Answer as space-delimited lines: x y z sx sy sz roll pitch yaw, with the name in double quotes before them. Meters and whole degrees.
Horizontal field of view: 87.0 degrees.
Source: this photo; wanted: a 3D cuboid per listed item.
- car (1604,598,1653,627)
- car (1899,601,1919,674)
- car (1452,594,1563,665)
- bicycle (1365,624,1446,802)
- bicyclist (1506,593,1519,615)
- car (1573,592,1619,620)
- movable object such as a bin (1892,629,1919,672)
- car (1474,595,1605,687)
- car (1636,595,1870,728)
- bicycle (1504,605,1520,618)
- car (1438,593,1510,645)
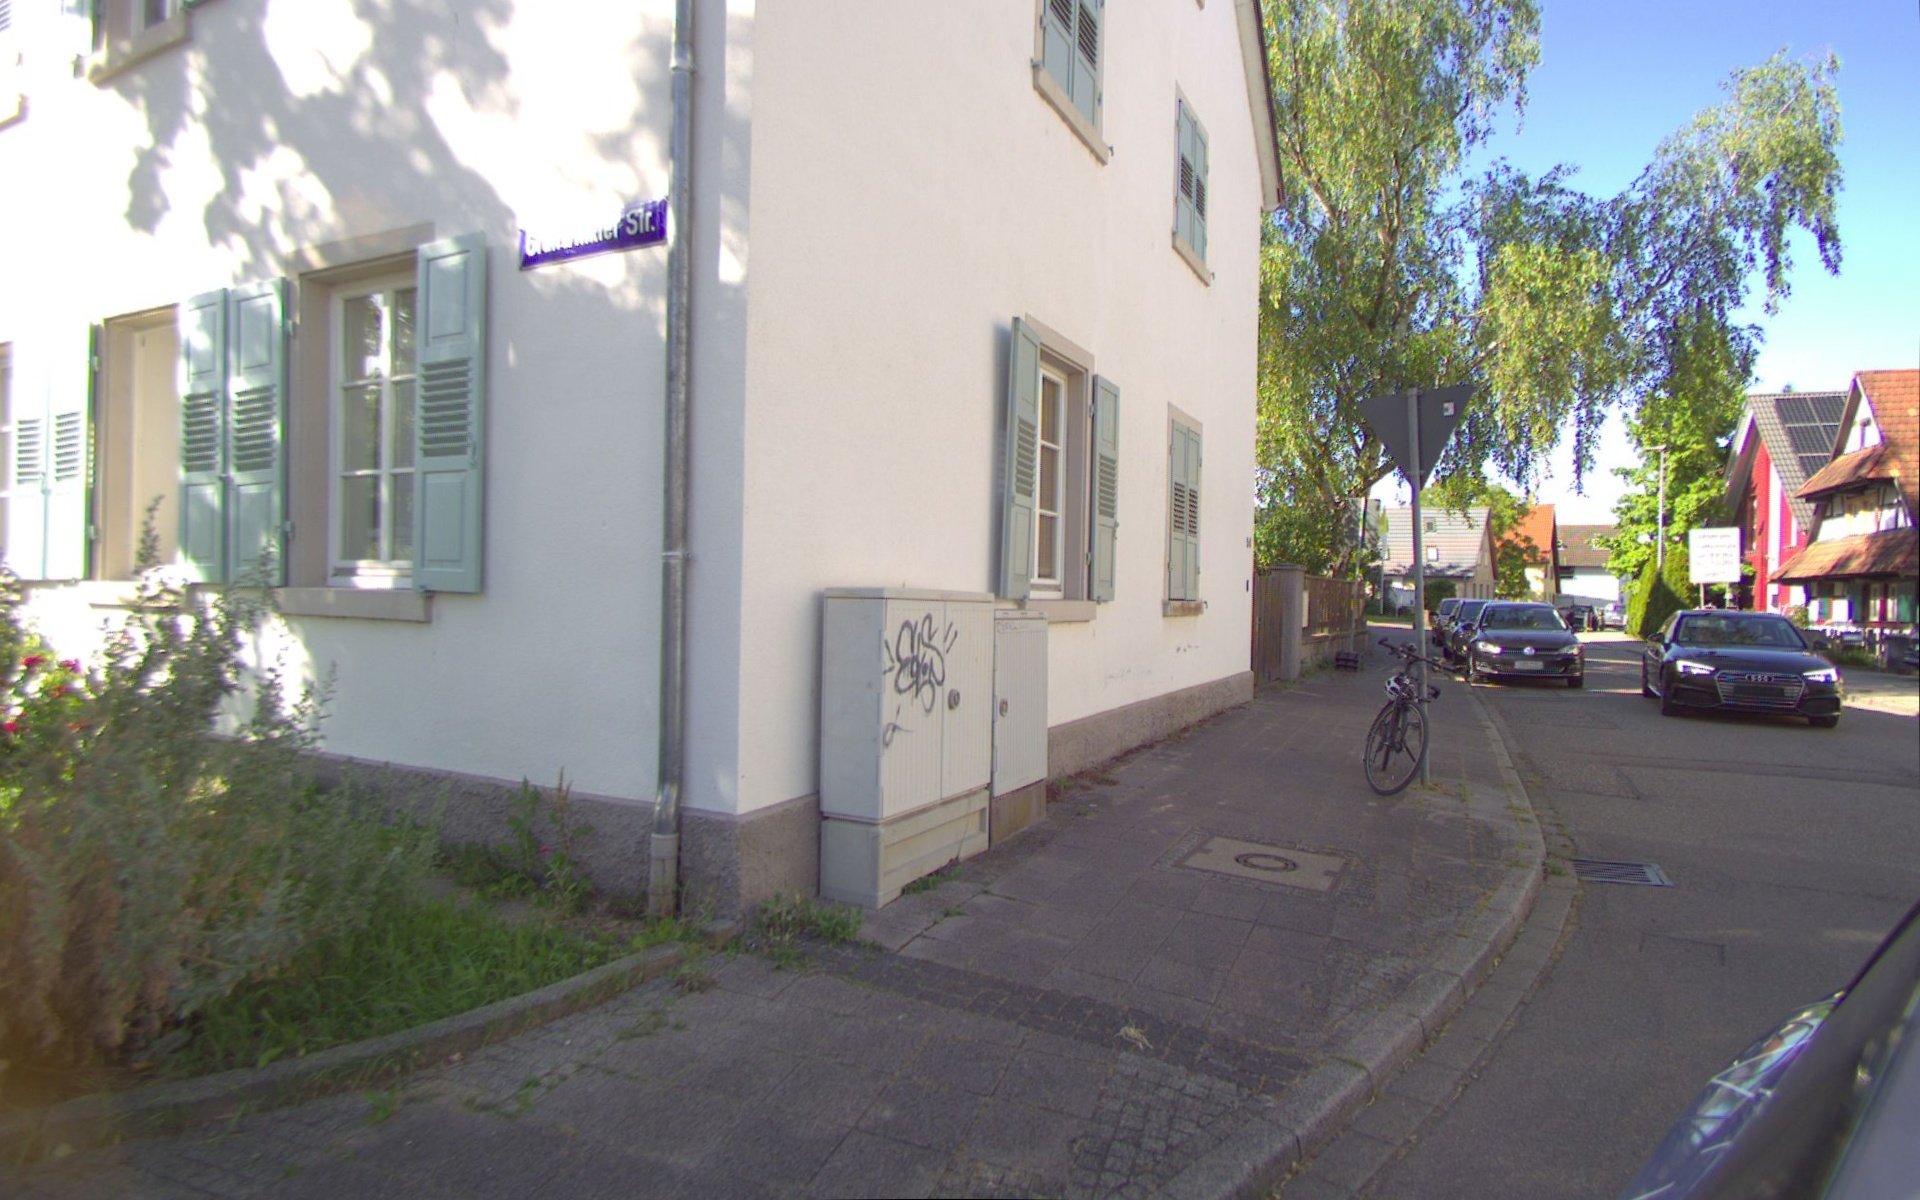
"car" 46.987 0.872 71.083 4.279 1.811 1.835 2 3 -43
"car" 21.517 0.913 19.802 4.122 1.480 1.836 4 1 21
"car" 12.663 0.625 23.655 1.792 1.454 4.253 1 0 22
"bicycle" 3.323 0.768 7.634 0.431 1.093 1.877 2 1 21
"bicyclist" 33.997 0.256 62.262 0.580 1.336 0.600 4 2 37
"car" 39.547 0.340 62.918 1.830 1.692 4.289 0 0 40
"movable object such as a bin" 21.593 1.149 22.955 0.546 0.908 0.584 2 2 -45
"car" 10.602 0.667 18.786 1.795 1.454 4.246 1 0 26
"car" 10.771 0.711 14.084 1.792 1.496 4.301 2 1 28
"bicycle" 33.943 0.719 62.188 0.580 0.771 1.775 4 2 37
"car" 16.006 0.553 31.658 1.634 1.497 3.904 1 0 22
